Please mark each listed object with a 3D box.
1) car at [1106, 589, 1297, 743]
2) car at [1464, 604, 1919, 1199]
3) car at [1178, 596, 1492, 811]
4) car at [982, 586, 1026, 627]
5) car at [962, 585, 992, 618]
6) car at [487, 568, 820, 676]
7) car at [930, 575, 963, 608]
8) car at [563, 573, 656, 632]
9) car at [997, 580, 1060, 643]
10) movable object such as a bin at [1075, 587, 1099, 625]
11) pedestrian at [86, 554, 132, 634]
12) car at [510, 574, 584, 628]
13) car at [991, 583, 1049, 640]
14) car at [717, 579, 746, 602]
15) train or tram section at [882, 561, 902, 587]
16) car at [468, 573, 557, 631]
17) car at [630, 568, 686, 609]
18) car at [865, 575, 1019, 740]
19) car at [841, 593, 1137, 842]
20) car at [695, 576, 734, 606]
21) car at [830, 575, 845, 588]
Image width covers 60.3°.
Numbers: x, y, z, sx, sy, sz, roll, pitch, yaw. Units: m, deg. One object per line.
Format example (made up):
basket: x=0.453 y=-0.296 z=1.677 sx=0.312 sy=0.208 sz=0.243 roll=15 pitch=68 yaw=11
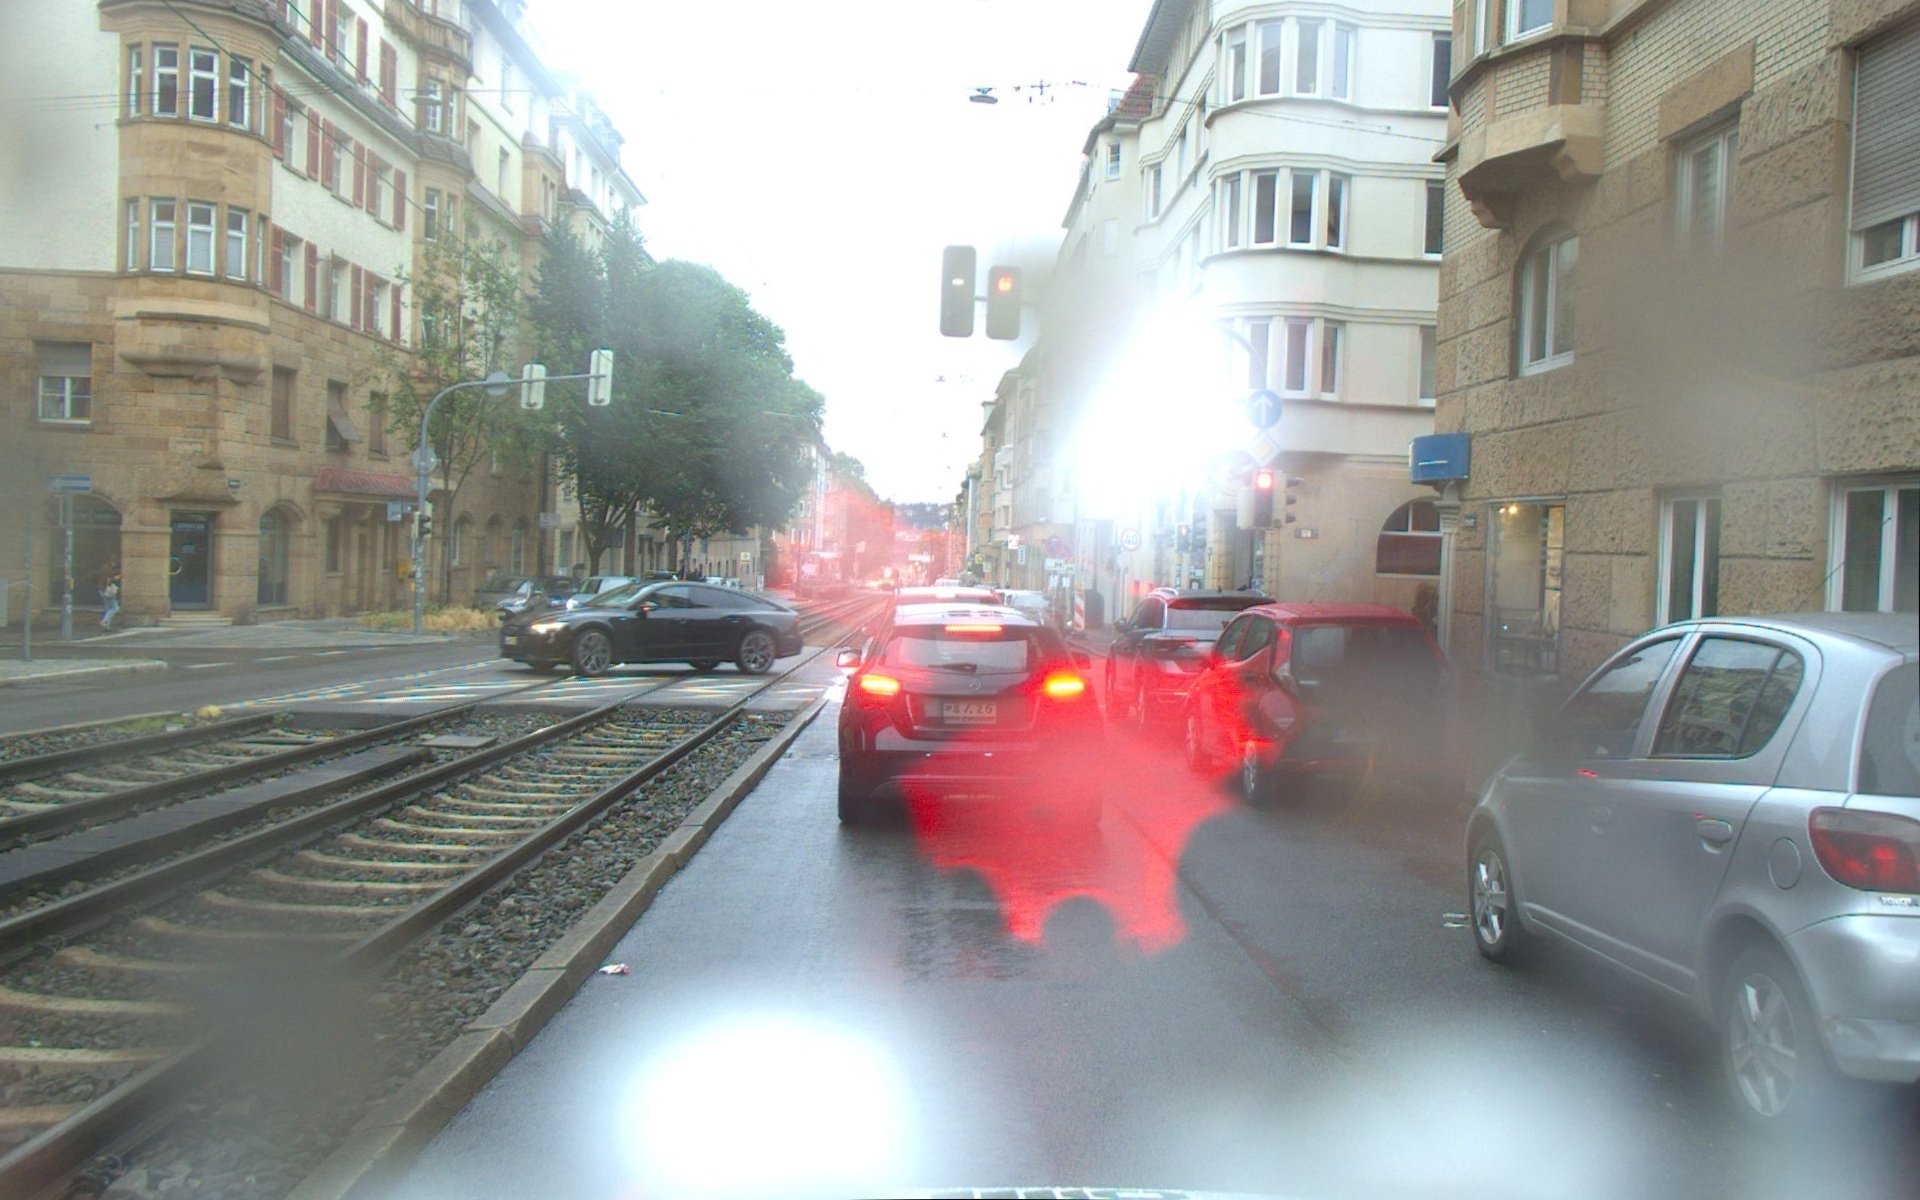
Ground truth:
car: x=2.599 y=0.652 z=18.554 sx=1.513 sy=1.512 sz=3.829 roll=1 pitch=0 yaw=-1
car: x=3.076 y=0.778 z=5.859 sx=1.581 sy=1.493 sz=3.312 roll=0 pitch=0 yaw=0
car: x=2.868 y=0.730 z=13.319 sx=1.609 sy=1.473 sz=3.297 roll=1 pitch=0 yaw=-3
car: x=1.691 y=0.247 z=64.309 sx=1.513 sy=1.512 sz=3.547 roll=1 pitch=0 yaw=-1
car: x=0.767 y=0.039 z=76.368 sx=1.268 sy=1.467 sz=2.928 roll=1 pitch=0 yaw=-1
car: x=-4.732 y=0.339 z=25.992 sx=4.915 sy=1.550 sz=1.784 roll=1 pitch=0 yaw=-39
car: x=-0.843 y=-0.498 z=101.665 sx=1.953 sy=1.909 sz=3.999 roll=1 pitch=0 yaw=-1
car: x=-10.041 y=0.078 z=47.702 sx=1.860 sy=1.615 sz=3.972 roll=1 pitch=0 yaw=-1
car: x=1.842 y=0.294 z=45.426 sx=1.513 sy=1.618 sz=3.547 roll=1 pitch=0 yaw=-1
movable object such as a bin: x=4.789 y=0.228 z=62.399 sx=0.859 sy=1.413 sz=0.983 roll=1 pitch=0 yaw=3
pedestrian: x=-18.281 y=-0.126 z=35.547 sx=0.687 sy=1.702 sz=0.631 roll=1 pitch=-1 yaw=-10
car: x=-13.263 y=0.035 z=53.302 sx=1.683 sy=1.639 sz=3.914 roll=1 pitch=0 yaw=-5
car: x=1.778 y=0.315 z=49.900 sx=1.513 sy=1.618 sz=3.547 roll=1 pitch=0 yaw=-1
car: x=-13.949 y=-0.568 z=101.152 sx=1.419 sy=1.354 sz=3.270 roll=1 pitch=0 yaw=-2
train or tram section: x=-10.609 y=-4.027 z=258.271 sx=2.726 sy=3.928 sz=10.427 roll=1 pitch=0 yaw=-1
car: x=-13.005 y=0.059 z=48.275 sx=1.718 sy=1.579 sz=4.032 roll=1 pitch=0 yaw=-4
car: x=-13.521 y=-0.511 z=74.285 sx=1.837 sy=1.767 sz=3.917 roll=1 pitch=0 yaw=-1
car: x=-0.207 y=0.590 z=18.597 sx=1.533 sy=1.637 sz=3.813 roll=1 pitch=0 yaw=-1
car: x=0.151 y=0.713 z=12.213 sx=1.792 sy=1.483 sz=4.103 roll=1 pitch=0 yaw=-1
car: x=-13.593 y=-0.501 z=91.747 sx=1.557 sy=1.608 sz=3.917 roll=1 pitch=0 yaw=-1
car: x=-12.337 y=-1.883 z=167.125 sx=1.349 sy=1.271 sz=3.296 roll=1 pitch=0 yaw=-2
